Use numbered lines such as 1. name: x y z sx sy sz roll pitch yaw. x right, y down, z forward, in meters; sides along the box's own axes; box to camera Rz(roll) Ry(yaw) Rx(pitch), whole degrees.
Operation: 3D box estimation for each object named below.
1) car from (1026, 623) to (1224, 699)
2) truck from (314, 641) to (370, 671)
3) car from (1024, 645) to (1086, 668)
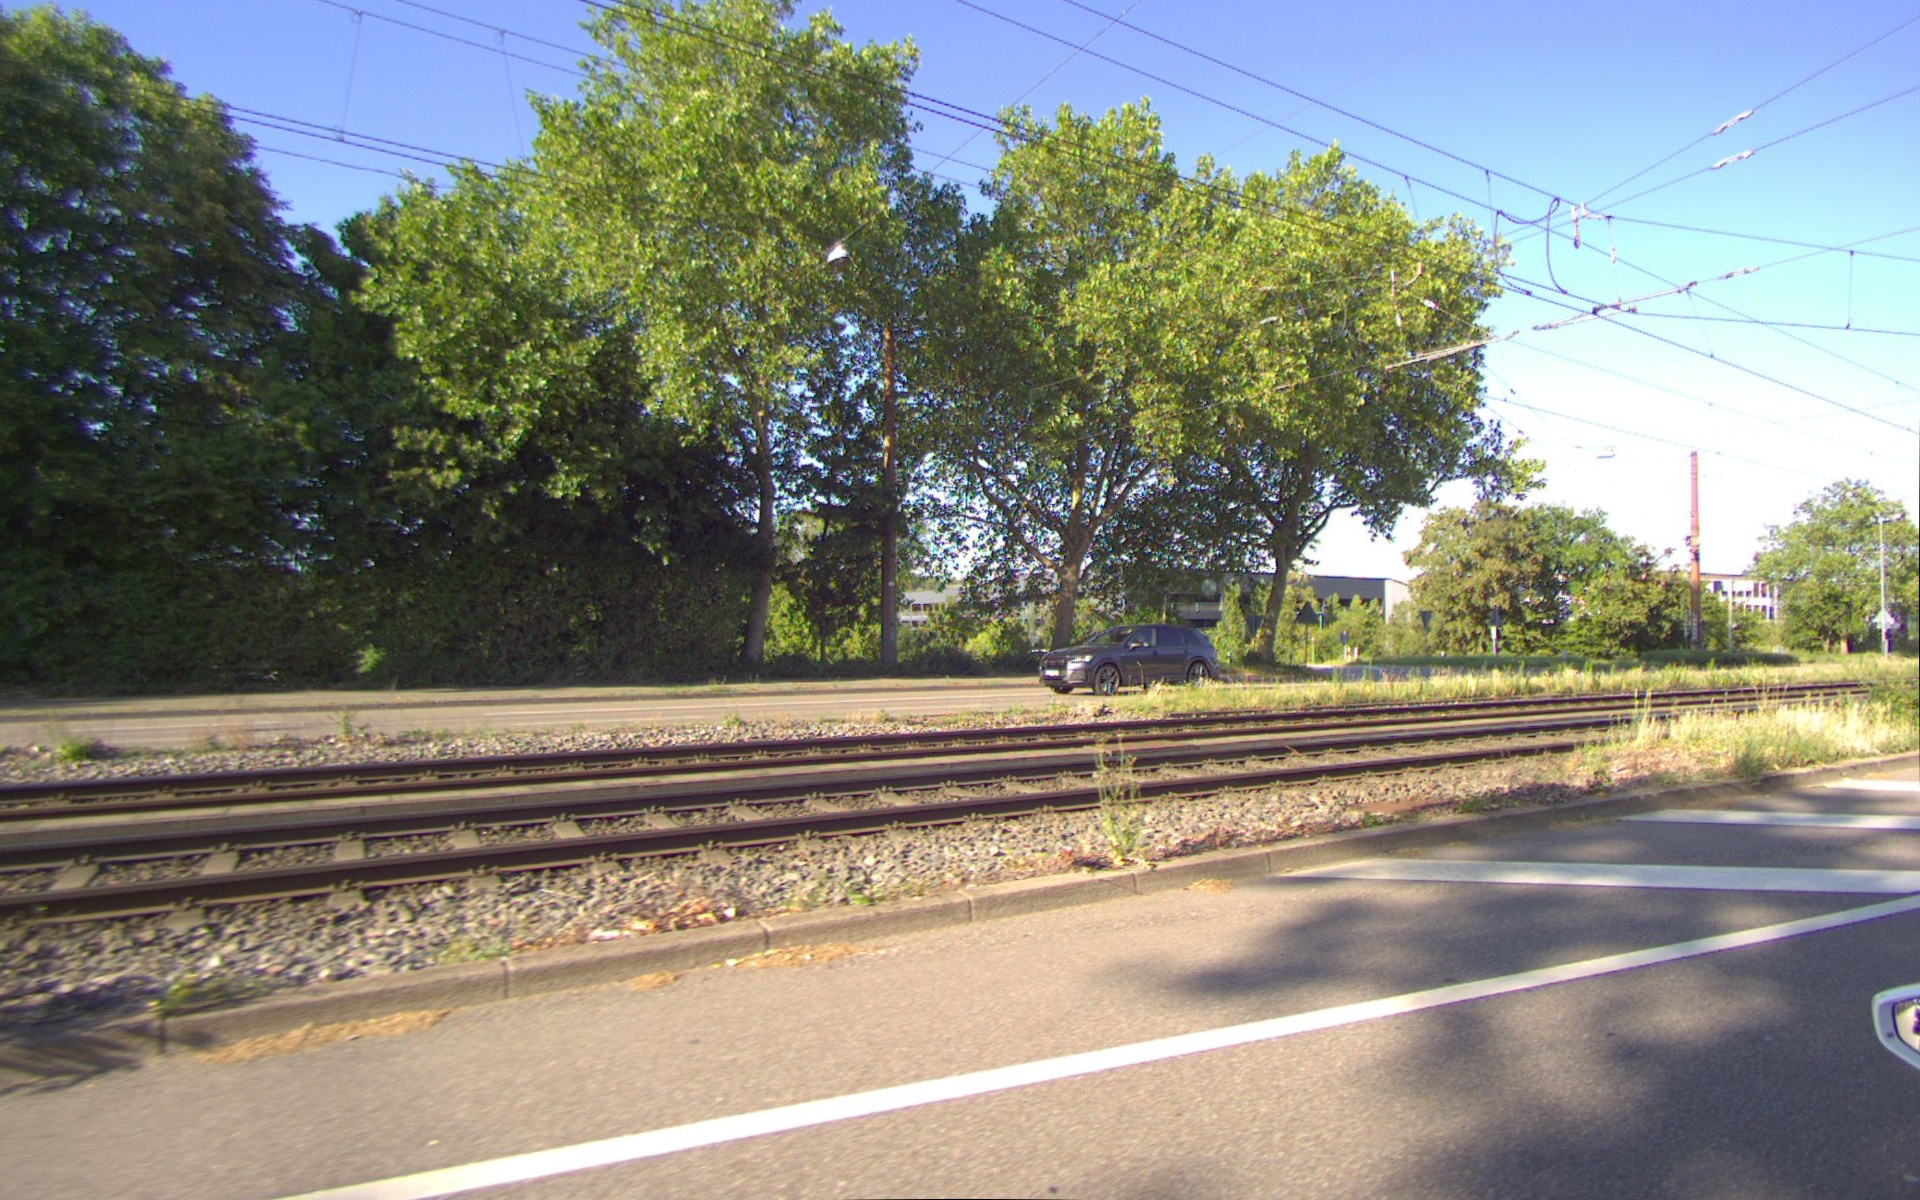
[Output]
1. car: 4.143 1.491 24.969 4.888 1.716 1.888 2 -4 -33
2. truck: -57.086 5.127 92.893 2.025 2.554 5.030 1 -1 -1
3. car: 6.892 4.121 73.044 4.196 1.545 1.657 0 -4 29
